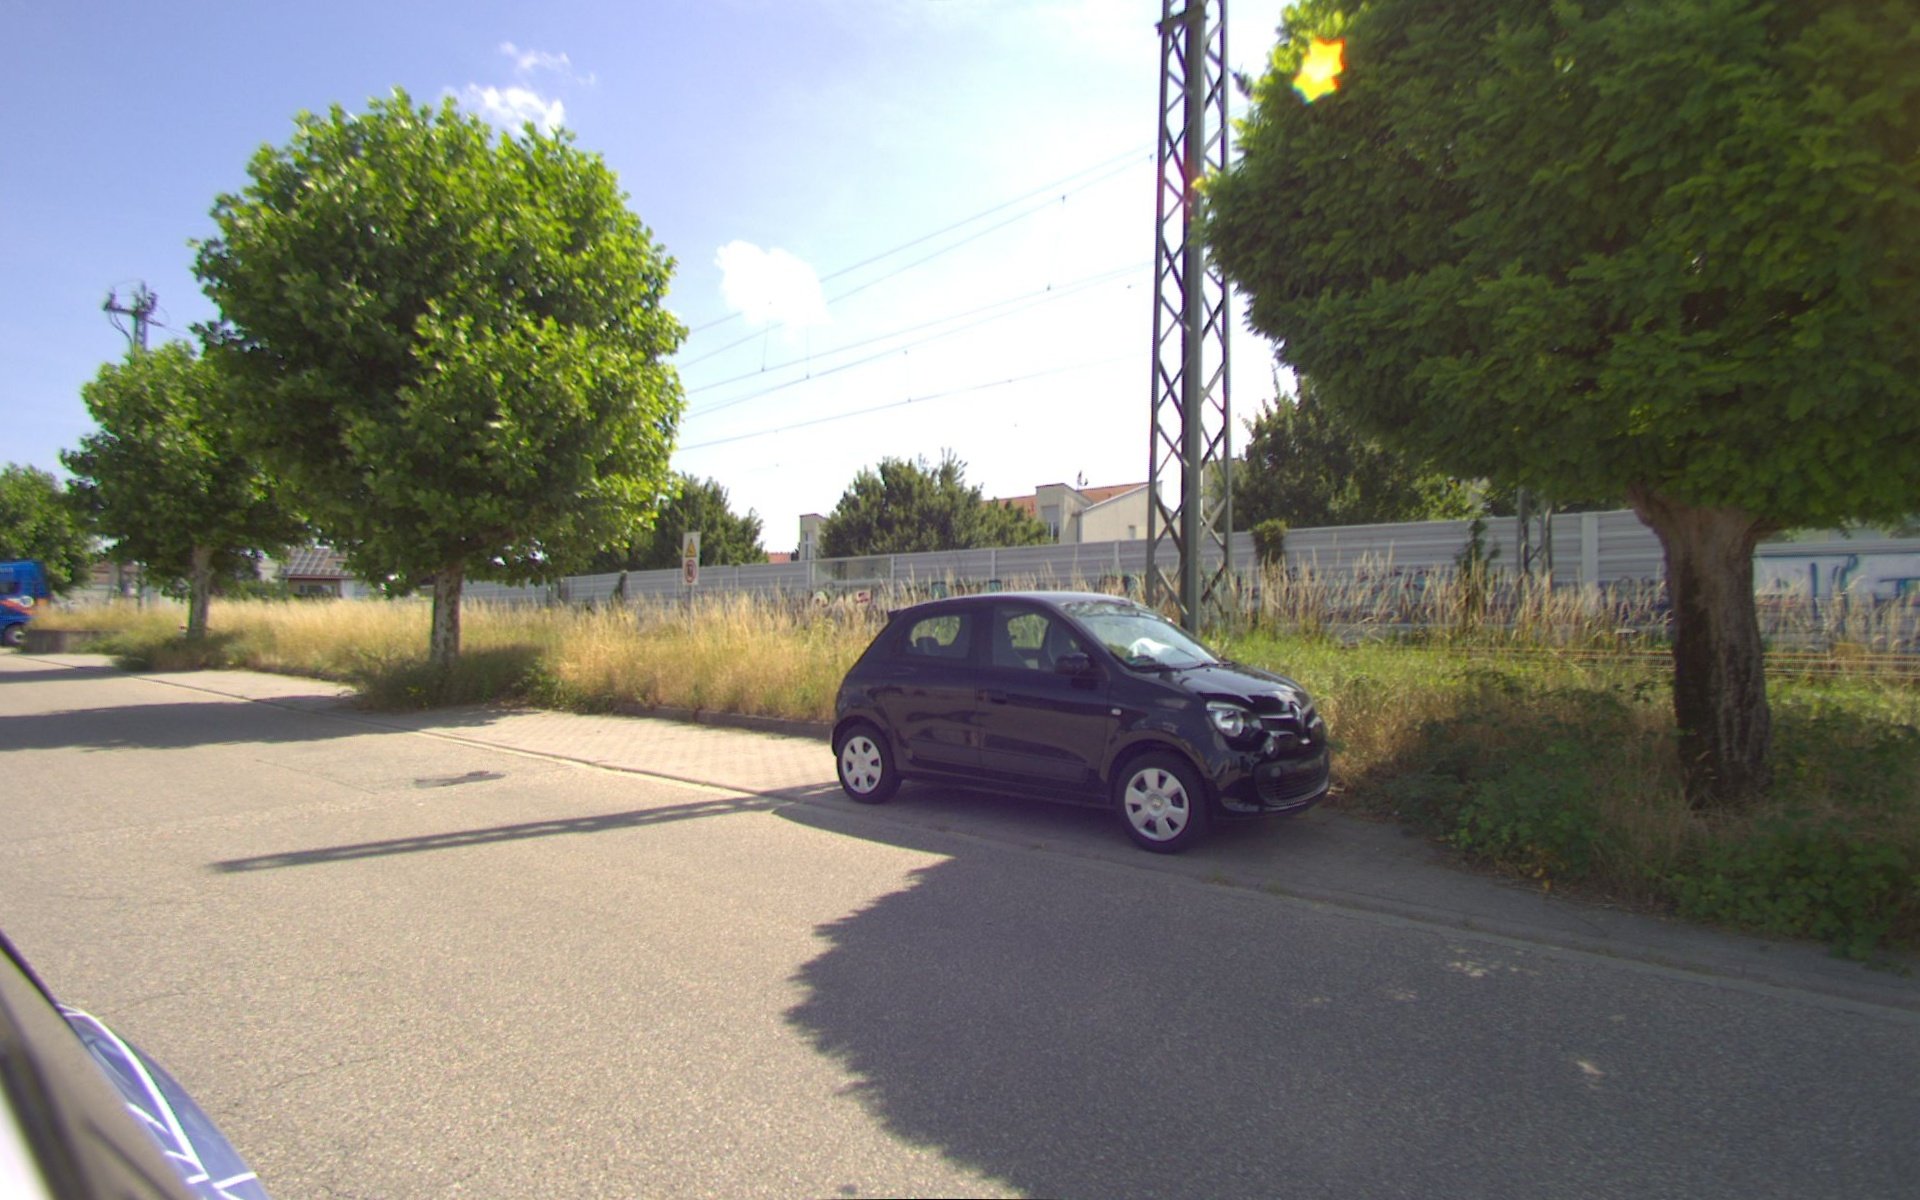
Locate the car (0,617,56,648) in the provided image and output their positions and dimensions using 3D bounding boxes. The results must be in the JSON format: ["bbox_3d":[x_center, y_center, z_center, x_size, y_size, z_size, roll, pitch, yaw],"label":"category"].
[{"bbox_3d":[-52.128,1.766,55.179,1.847,1.630,3.934,-1,-2,36],"label":"car"}]

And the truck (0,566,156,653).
[{"bbox_3d":[-42.259,0.503,47.525,2.660,3.852,6.552,-1,-2,37],"label":"truck"}]

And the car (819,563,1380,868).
[{"bbox_3d":[0.842,0.646,7.163,3.577,1.608,1.724,-1,-1,40],"label":"car"}]
